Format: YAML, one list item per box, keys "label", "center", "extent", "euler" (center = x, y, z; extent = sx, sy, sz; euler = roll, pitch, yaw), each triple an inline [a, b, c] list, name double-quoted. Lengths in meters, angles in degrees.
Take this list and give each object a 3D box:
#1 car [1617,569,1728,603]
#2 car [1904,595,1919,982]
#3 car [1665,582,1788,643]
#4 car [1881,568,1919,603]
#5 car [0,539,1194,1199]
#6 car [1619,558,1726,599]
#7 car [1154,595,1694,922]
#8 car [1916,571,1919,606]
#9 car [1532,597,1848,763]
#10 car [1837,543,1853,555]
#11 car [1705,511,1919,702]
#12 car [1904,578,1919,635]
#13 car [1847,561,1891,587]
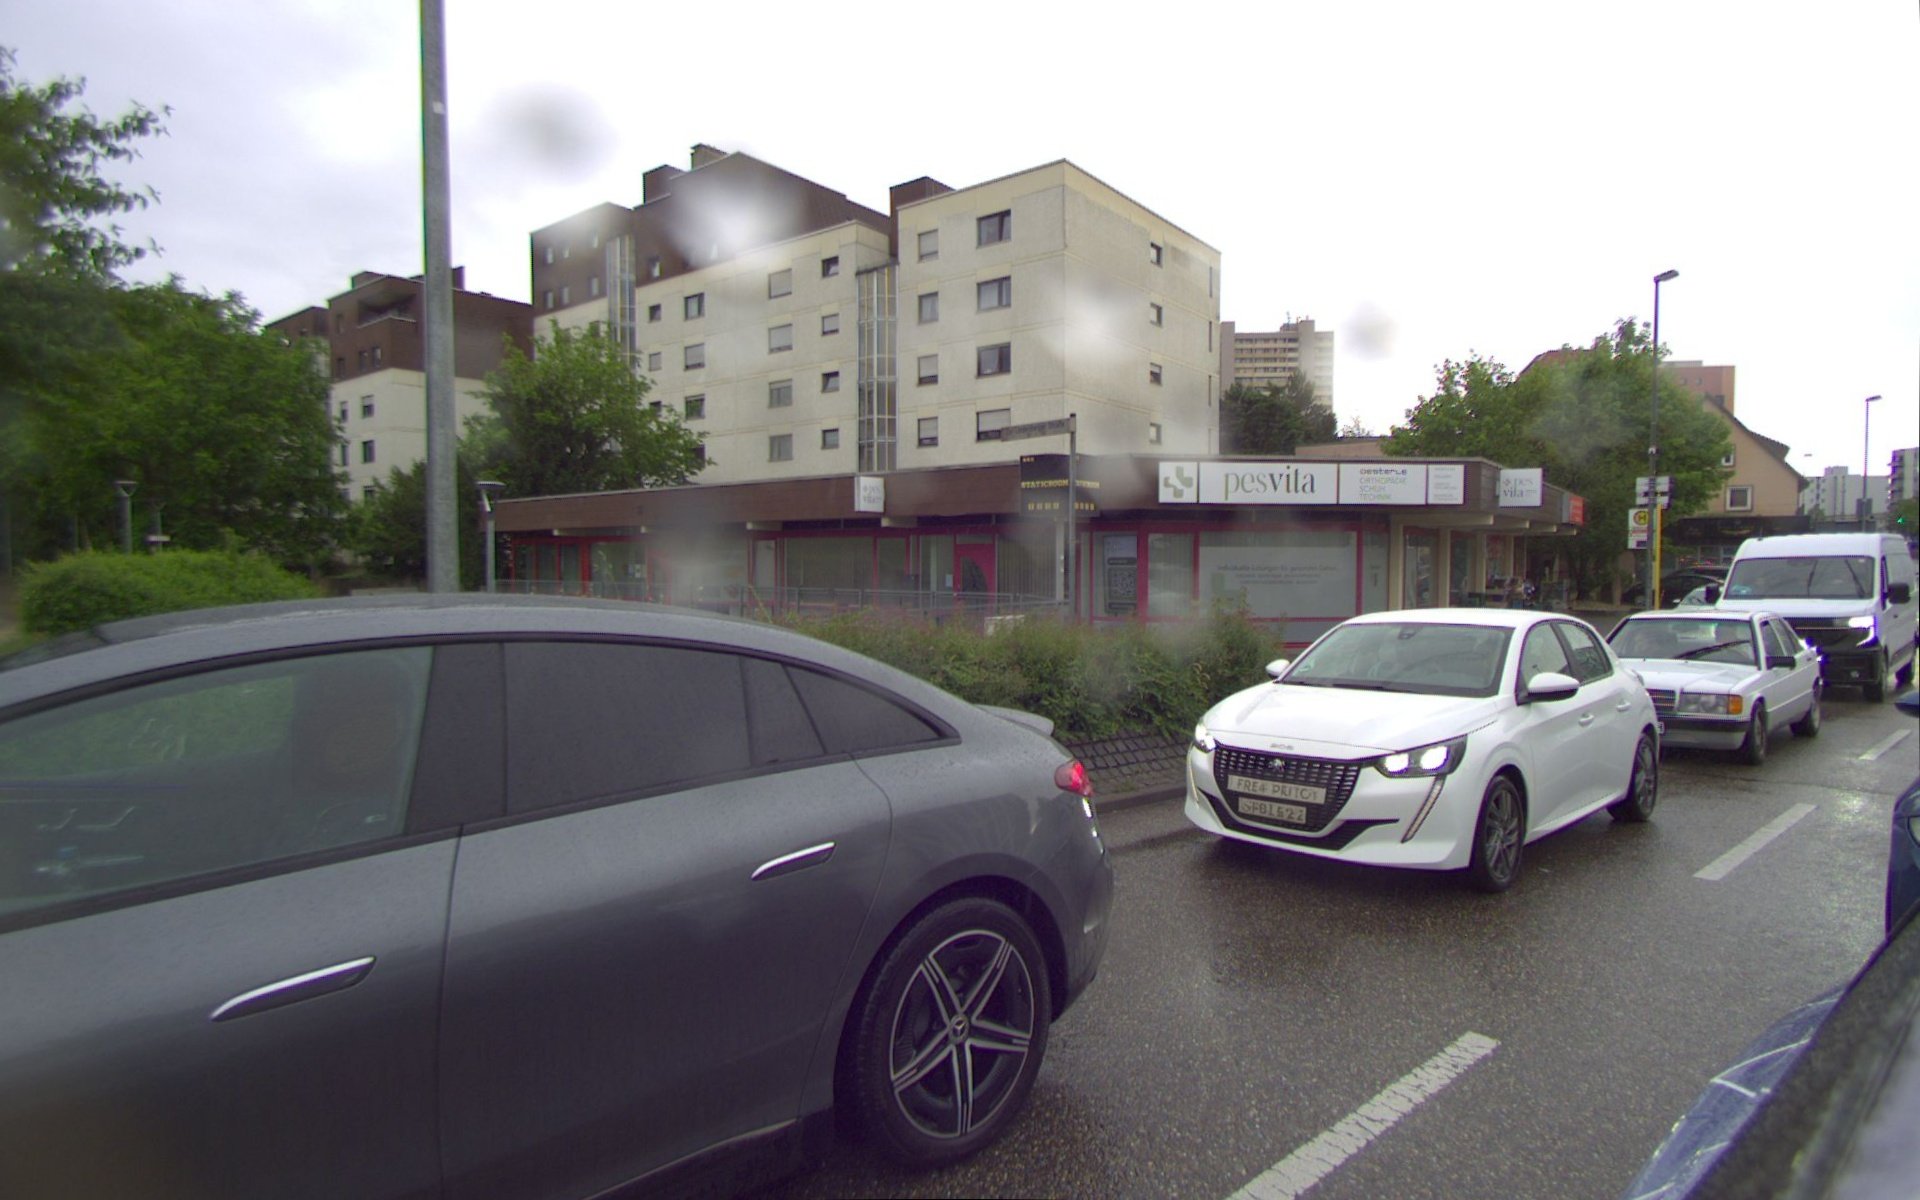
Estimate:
- label: "car"
  center: [31.892, -0.645, 45.344]
  extent: [3.981, 1.445, 1.858]
  euler: [2, 2, 39]
- label: "car"
  center: [5.469, 0.679, 4.439]
  extent: [3.933, 1.406, 1.690]
  euler: [-1, 1, -43]
- label: "car"
  center: [20.215, 0.275, 26.646]
  extent: [3.930, 1.509, 1.787]
  euler: [-1, 1, -41]
- label: "car"
  center: [58.460, -0.931, 62.686]
  extent: [1.993, 2.038, 3.939]
  euler: [2, 3, 43]
- label: "car"
  center: [-1.609, 0.662, 2.420]
  extent: [4.724, 1.485, 1.840]
  euler: [0, -1, -41]
- label: "car"
  center: [33.293, -1.027, 47.342]
  extent: [3.981, 1.801, 1.858]
  euler: [2, 2, 39]
- label: "car"
  center: [3.180, 0.706, 6.530]
  extent: [4.043, 1.433, 1.665]
  euler: [-1, 1, -41]
- label: "car"
  center: [46.391, -0.565, 47.500]
  extent: [3.933, 1.588, 1.996]
  euler: [-2, 1, -43]
- label: "car"
  center: [7.758, 0.677, 10.620]
  extent: [4.089, 1.362, 1.787]
  euler: [-1, 1, -41]
- label: "car"
  center: [139.385, -8.036, 159.467]
  extent: [1.657, 1.654, 3.754]
  euler: [1, 1, 37]
- label: "car"
  center: [14.037, 0.003, 16.363]
  extent: [6.021, 2.549, 2.194]
  euler: [-2, 2, -43]
- label: "car"
  center: [28.224, 0.154, 28.621]
  extent: [3.930, 1.558, 1.802]
  euler: [-1, 2, -41]
- label: "car"
  center: [68.500, -1.945, 76.222]
  extent: [3.930, 1.776, 1.879]
  euler: [0, 3, -41]
